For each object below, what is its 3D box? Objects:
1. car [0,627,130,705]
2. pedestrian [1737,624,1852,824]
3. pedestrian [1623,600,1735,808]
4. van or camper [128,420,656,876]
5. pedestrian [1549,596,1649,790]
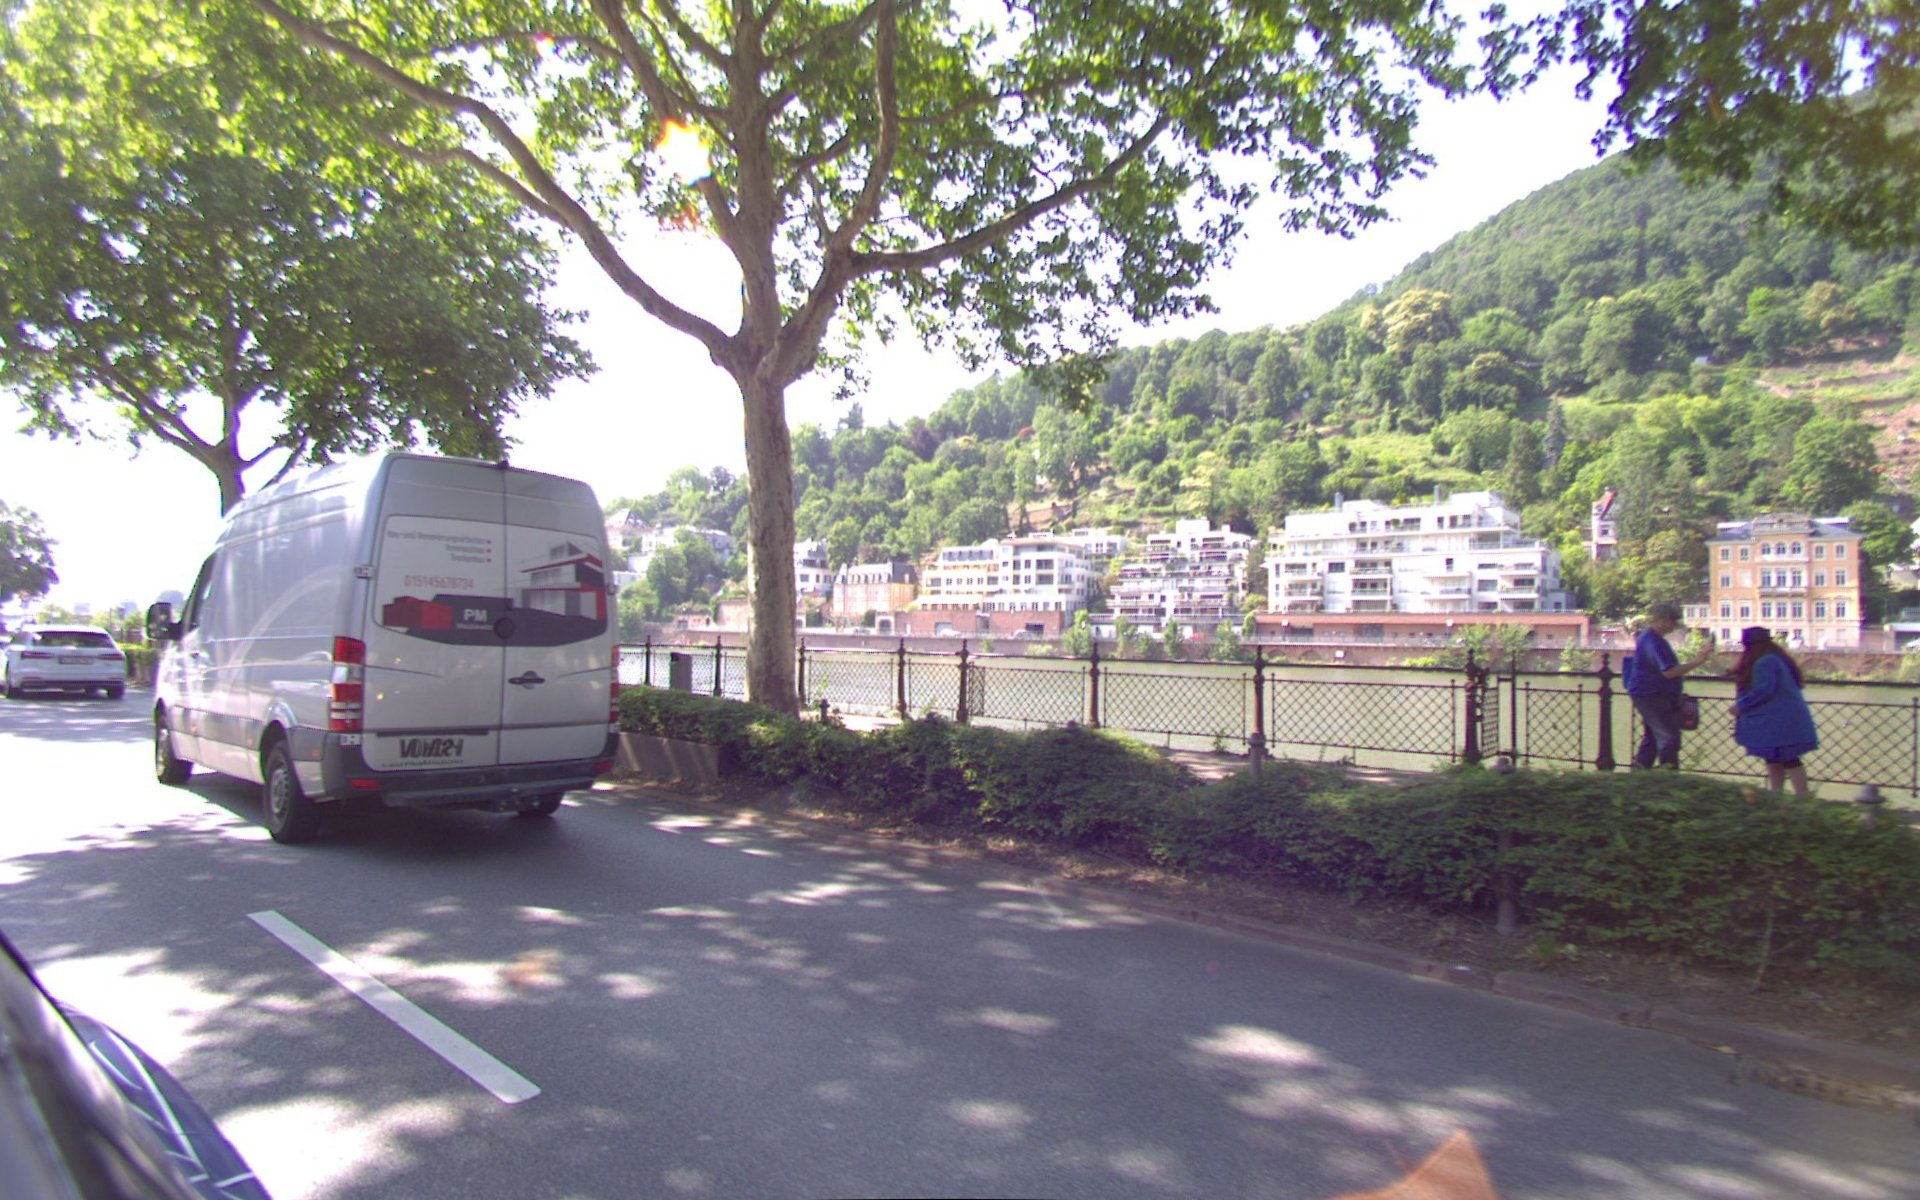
[{"bbox_3d":[-18.976,1.325,21.138,4.531,1.468,1.751,-1,-4,41],"label":"car"},{"bbox_3d":[7.205,1.025,8.738,0.705,1.615,0.696,-1,-3,44],"label":"pedestrian"},{"bbox_3d":[6.382,0.883,8.982,0.705,1.744,0.696,-1,-3,44],"label":"pedestrian"},{"bbox_3d":[-5.034,0.363,8.435,5.839,2.587,1.940,-1,-5,42],"label":"van or camper"},{"bbox_3d":[6.292,0.882,9.964,0.705,1.811,0.696,-1,-3,44],"label":"pedestrian"}]
